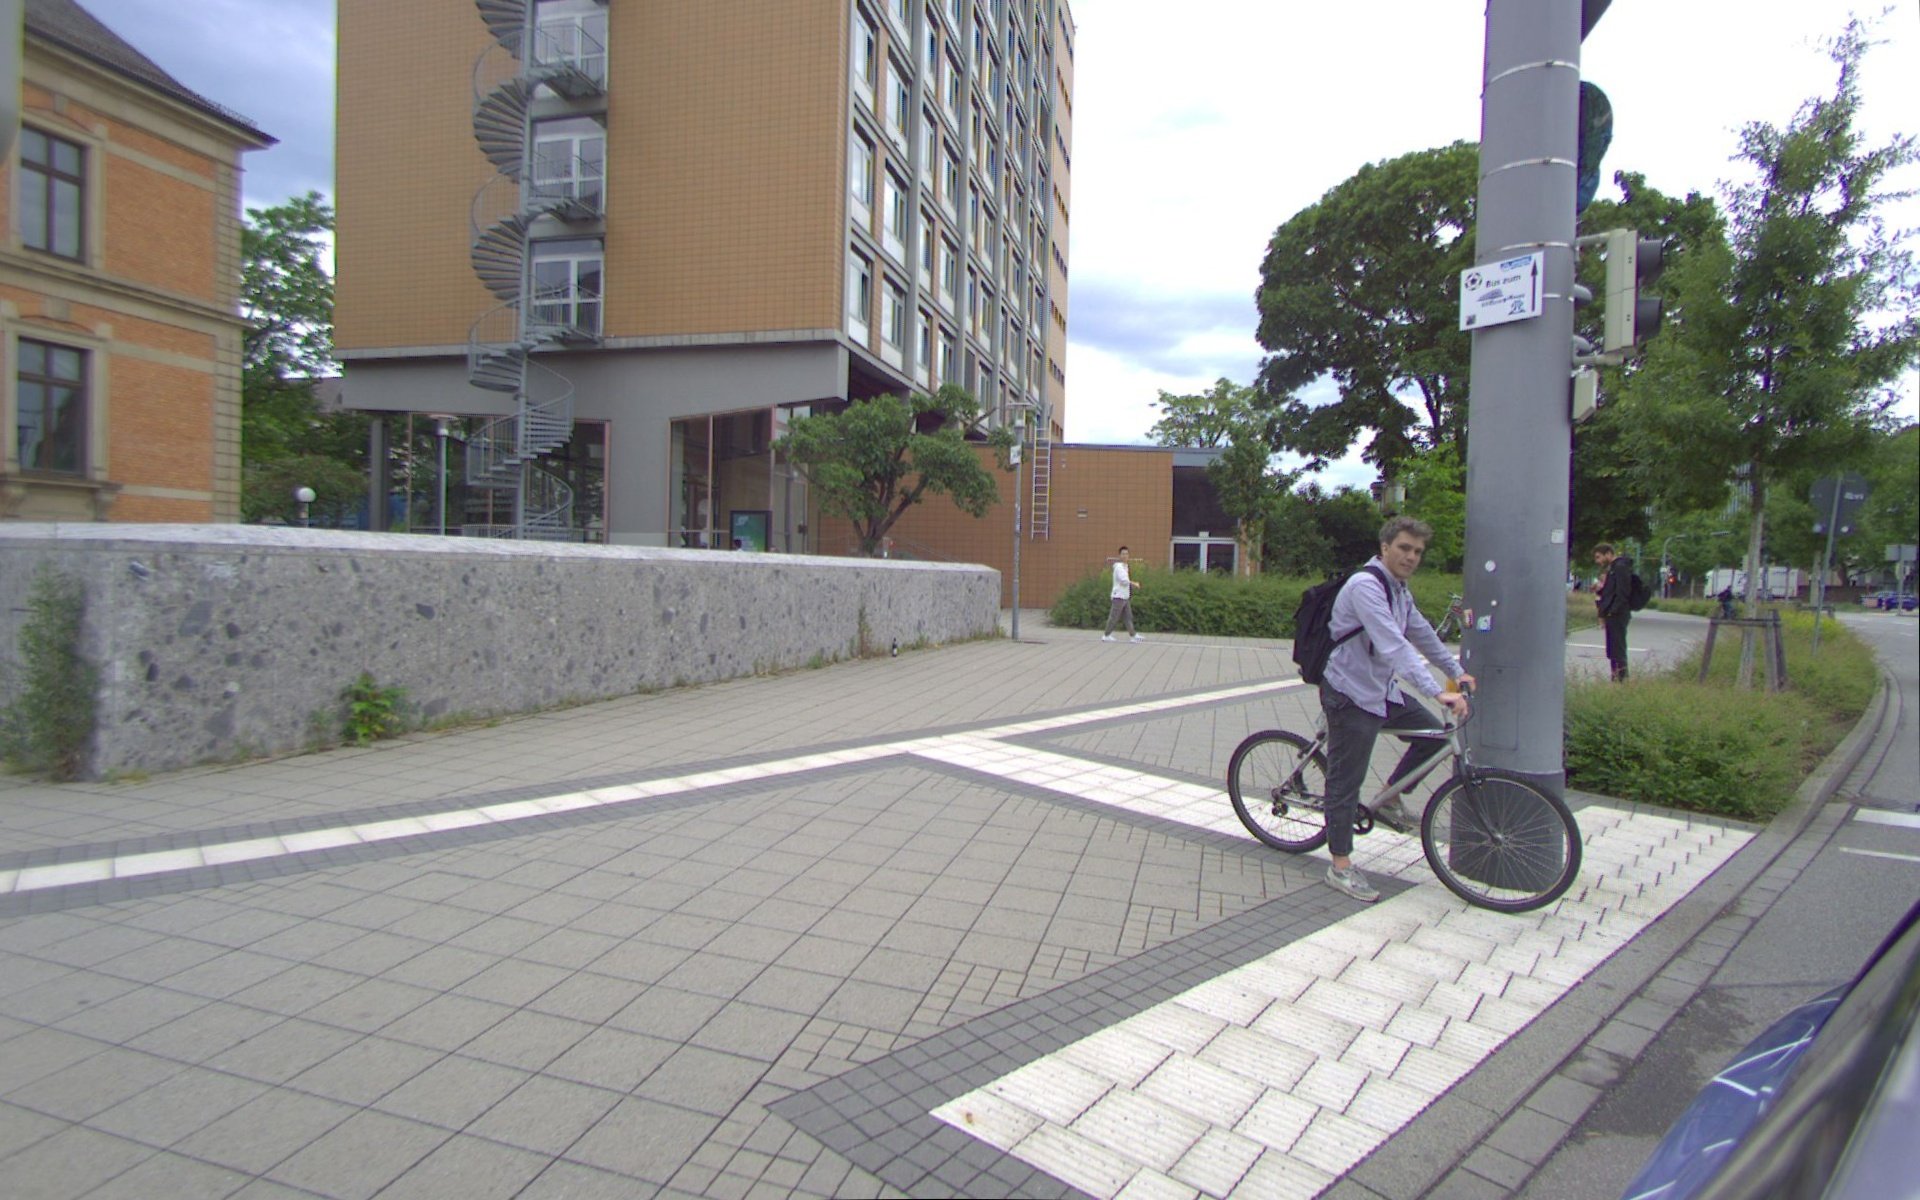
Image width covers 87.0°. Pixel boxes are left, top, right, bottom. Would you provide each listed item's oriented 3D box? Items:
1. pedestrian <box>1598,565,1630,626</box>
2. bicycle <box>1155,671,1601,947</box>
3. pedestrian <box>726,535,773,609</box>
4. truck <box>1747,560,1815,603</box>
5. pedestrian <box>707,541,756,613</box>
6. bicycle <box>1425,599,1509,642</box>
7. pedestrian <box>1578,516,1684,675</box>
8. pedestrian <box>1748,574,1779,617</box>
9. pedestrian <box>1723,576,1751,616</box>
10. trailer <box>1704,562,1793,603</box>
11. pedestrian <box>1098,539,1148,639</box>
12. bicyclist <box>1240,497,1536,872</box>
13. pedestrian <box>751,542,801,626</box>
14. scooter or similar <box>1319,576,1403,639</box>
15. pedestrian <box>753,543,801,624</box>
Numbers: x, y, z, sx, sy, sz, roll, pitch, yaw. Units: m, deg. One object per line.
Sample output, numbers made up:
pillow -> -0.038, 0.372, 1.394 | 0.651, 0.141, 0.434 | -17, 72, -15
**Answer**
pedestrian -> 20.171, -0.146, 31.217 | 0.629, 1.822, 0.589 | 6, 4, 41
bicycle -> 1.948, 0.891, 4.892 | 1.819, 0.850, 0.756 | 5, 3, 41
pedestrian -> -5.110, -0.694, 24.569 | 0.864, 1.758, 0.719 | 1, 1, 22
truck -> 81.200, -1.791, 100.248 | 2.876, 4.075, 7.118 | 0, 1, 18
pedestrian -> -5.353, -0.541, 23.713 | 0.864, 1.651, 0.719 | 1, 1, 22
bicycle -> 10.787, 0.426, 21.512 | 2.032, 0.859, 0.559 | 0, 1, -30
pedestrian -> 8.524, -0.069, 12.890 | 0.860, 1.952, 0.722 | 1, 1, 12
pedestrian -> 35.251, -0.205, 44.416 | 0.707, 1.822, 0.598 | 3, 3, -2
pedestrian -> 37.053, -0.196, 48.271 | 0.707, 1.822, 0.598 | 3, 3, -2
trailer -> 83.625, -1.870, 107.709 | 2.909, 4.064, 13.729 | 0, 1, 18
pedestrian -> 3.076, -0.214, 19.046 | 0.696, 1.828, 0.832 | 1, 1, 25
bicyclist -> 2.019, 0.329, 4.805 | 1.097, 1.539, 0.749 | 2, 1, 41
pedestrian -> -3.948, -0.343, 21.715 | 0.859, 1.752, 0.723 | 1, 1, 7
scooter or similar -> 8.591, 0.151, 21.749 | 1.581, 1.306, 0.692 | 0, 0, 14
pedestrian -> -4.078, -0.380, 22.603 | 0.859, 1.764, 0.723 | 1, 1, 7
